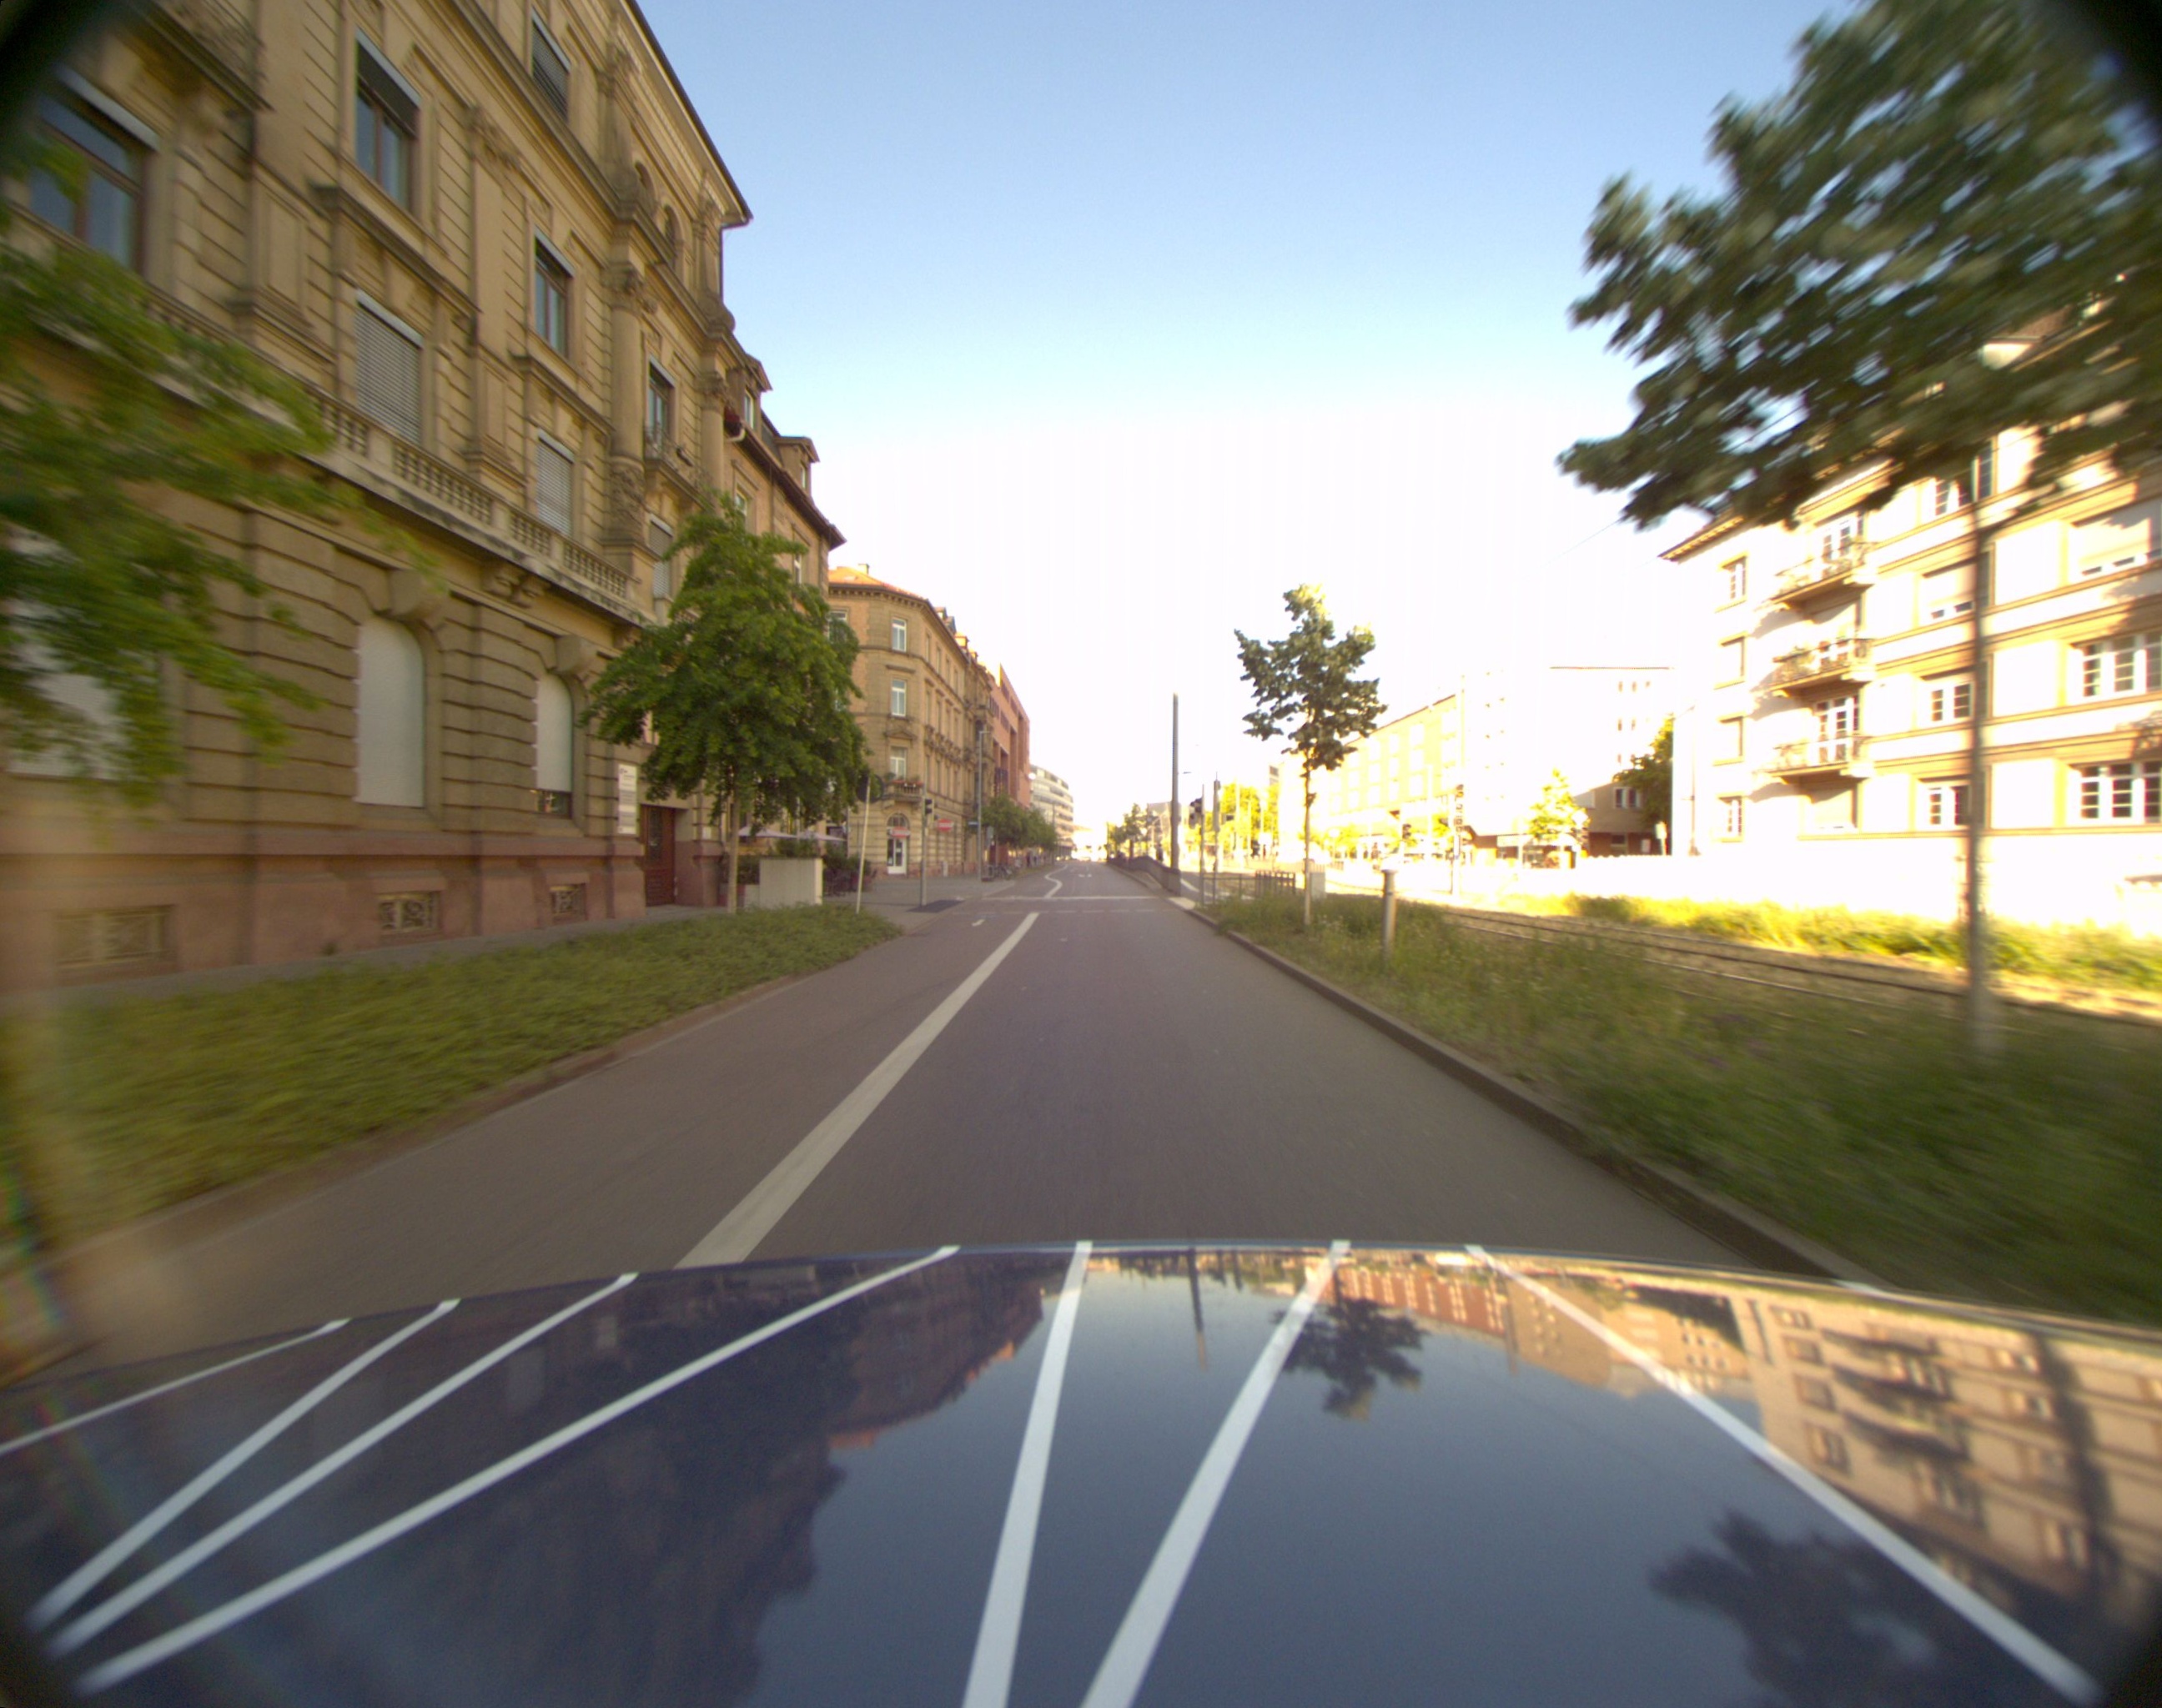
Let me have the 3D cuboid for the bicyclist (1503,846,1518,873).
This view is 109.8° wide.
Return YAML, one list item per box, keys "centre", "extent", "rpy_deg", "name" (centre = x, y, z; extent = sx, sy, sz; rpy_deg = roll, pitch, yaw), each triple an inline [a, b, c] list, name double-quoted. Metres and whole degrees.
- centre: [26.713, 0.351, 47.288]
  extent: [0.487, 1.670, 0.666]
  rpy_deg: [0, 1, -3]
  name: "bicyclist"

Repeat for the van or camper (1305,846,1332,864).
- centre: [30.585, 0.200, 98.152]
  extent: [1.998, 2.156, 5.618]
  rpy_deg: [0, -1, 3]
  name: "van or camper"

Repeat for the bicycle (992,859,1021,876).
- centre: [-4.959, 0.885, 50.575]
  extent: [1.831, 1.058, 0.663]
  rpy_deg: [3, 0, -4]
  name: "bicycle"

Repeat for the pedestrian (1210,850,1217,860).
- centre: [16.046, 0.137, 92.205]
  extent: [0.674, 1.183, 0.906]
  rpy_deg: [0, 1, 1]
  name: "pedestrian"

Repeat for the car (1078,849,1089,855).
- centre: [0.806, -0.538, 207.300]
  extent: [1.901, 1.611, 4.177]
  rpy_deg: [0, 0, 16]
  name: "car"

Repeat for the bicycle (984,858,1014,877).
- centre: [-5.141, 0.859, 47.821]
  extent: [1.831, 1.058, 0.663]
  rpy_deg: [3, 0, -4]
  name: "bicycle"

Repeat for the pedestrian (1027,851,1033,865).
- centre: [-6.314, 0.521, 93.536]
  extent: [0.539, 1.746, 0.463]
  rpy_deg: [0, 1, -30]
  name: "pedestrian"

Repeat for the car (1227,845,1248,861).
- centre: [22.605, -0.164, 109.829]
  extent: [2.051, 2.344, 4.920]
  rpy_deg: [0, 0, 0]
  name: "car"

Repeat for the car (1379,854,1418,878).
- centre: [26.813, 1.001, 64.264]
  extent: [1.997, 2.002, 4.150]
  rpy_deg: [1, 0, 7]
  name: "car"

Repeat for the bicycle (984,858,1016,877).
- centre: [-4.947, 0.847, 46.343]
  extent: [1.831, 1.058, 0.663]
  rpy_deg: [3, 0, -4]
  name: "bicycle"

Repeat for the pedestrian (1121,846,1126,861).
- centre: [4.848, -0.054, 86.057]
  extent: [0.506, 1.669, 0.651]
  rpy_deg: [0, 1, 1]
  name: "pedestrian"

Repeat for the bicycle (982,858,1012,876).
- centre: [-5.443, 0.868, 49.212]
  extent: [1.831, 1.058, 0.663]
  rpy_deg: [3, 0, -4]
  name: "bicycle"

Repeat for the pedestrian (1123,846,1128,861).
- centre: [5.184, -0.100, 88.118]
  extent: [0.506, 1.722, 0.651]
  rpy_deg: [0, 1, 1]
  name: "pedestrian"

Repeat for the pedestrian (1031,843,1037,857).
- centre: [-5.898, -0.474, 95.145]
  extent: [0.537, 1.746, 0.696]
  rpy_deg: [1, 1, 14]
  name: "pedestrian"

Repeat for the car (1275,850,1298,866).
- centre: [25.147, 0.493, 93.216]
  extent: [1.890, 1.856, 4.317]
  rpy_deg: [1, 0, 4]
  name: "car"

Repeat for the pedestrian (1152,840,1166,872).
- centre: [4.131, 0.096, 40.085]
  extent: [0.656, 1.633, 0.867]
  rpy_deg: [0, 2, 1]
  name: "pedestrian"

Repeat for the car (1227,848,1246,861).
- centre: [26.199, 0.066, 128.492]
  extent: [2.084, 2.276, 5.263]
  rpy_deg: [0, 1, -1]
  name: "car"

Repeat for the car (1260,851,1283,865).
- centre: [25.274, 0.562, 100.868]
  extent: [1.891, 1.856, 4.316]
  rpy_deg: [1, 0, 0]
  name: "car"

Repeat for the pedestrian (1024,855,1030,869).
- centre: [-6.756, 0.968, 94.555]
  extent: [0.537, 1.746, 0.696]
  rpy_deg: [1, 1, 11]
  name: "pedestrian"

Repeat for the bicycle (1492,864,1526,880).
- centre: [26.642, 1.104, 47.301]
  extent: [1.741, 0.942, 0.685]
  rpy_deg: [0, 1, -2]
  name: "bicycle"
